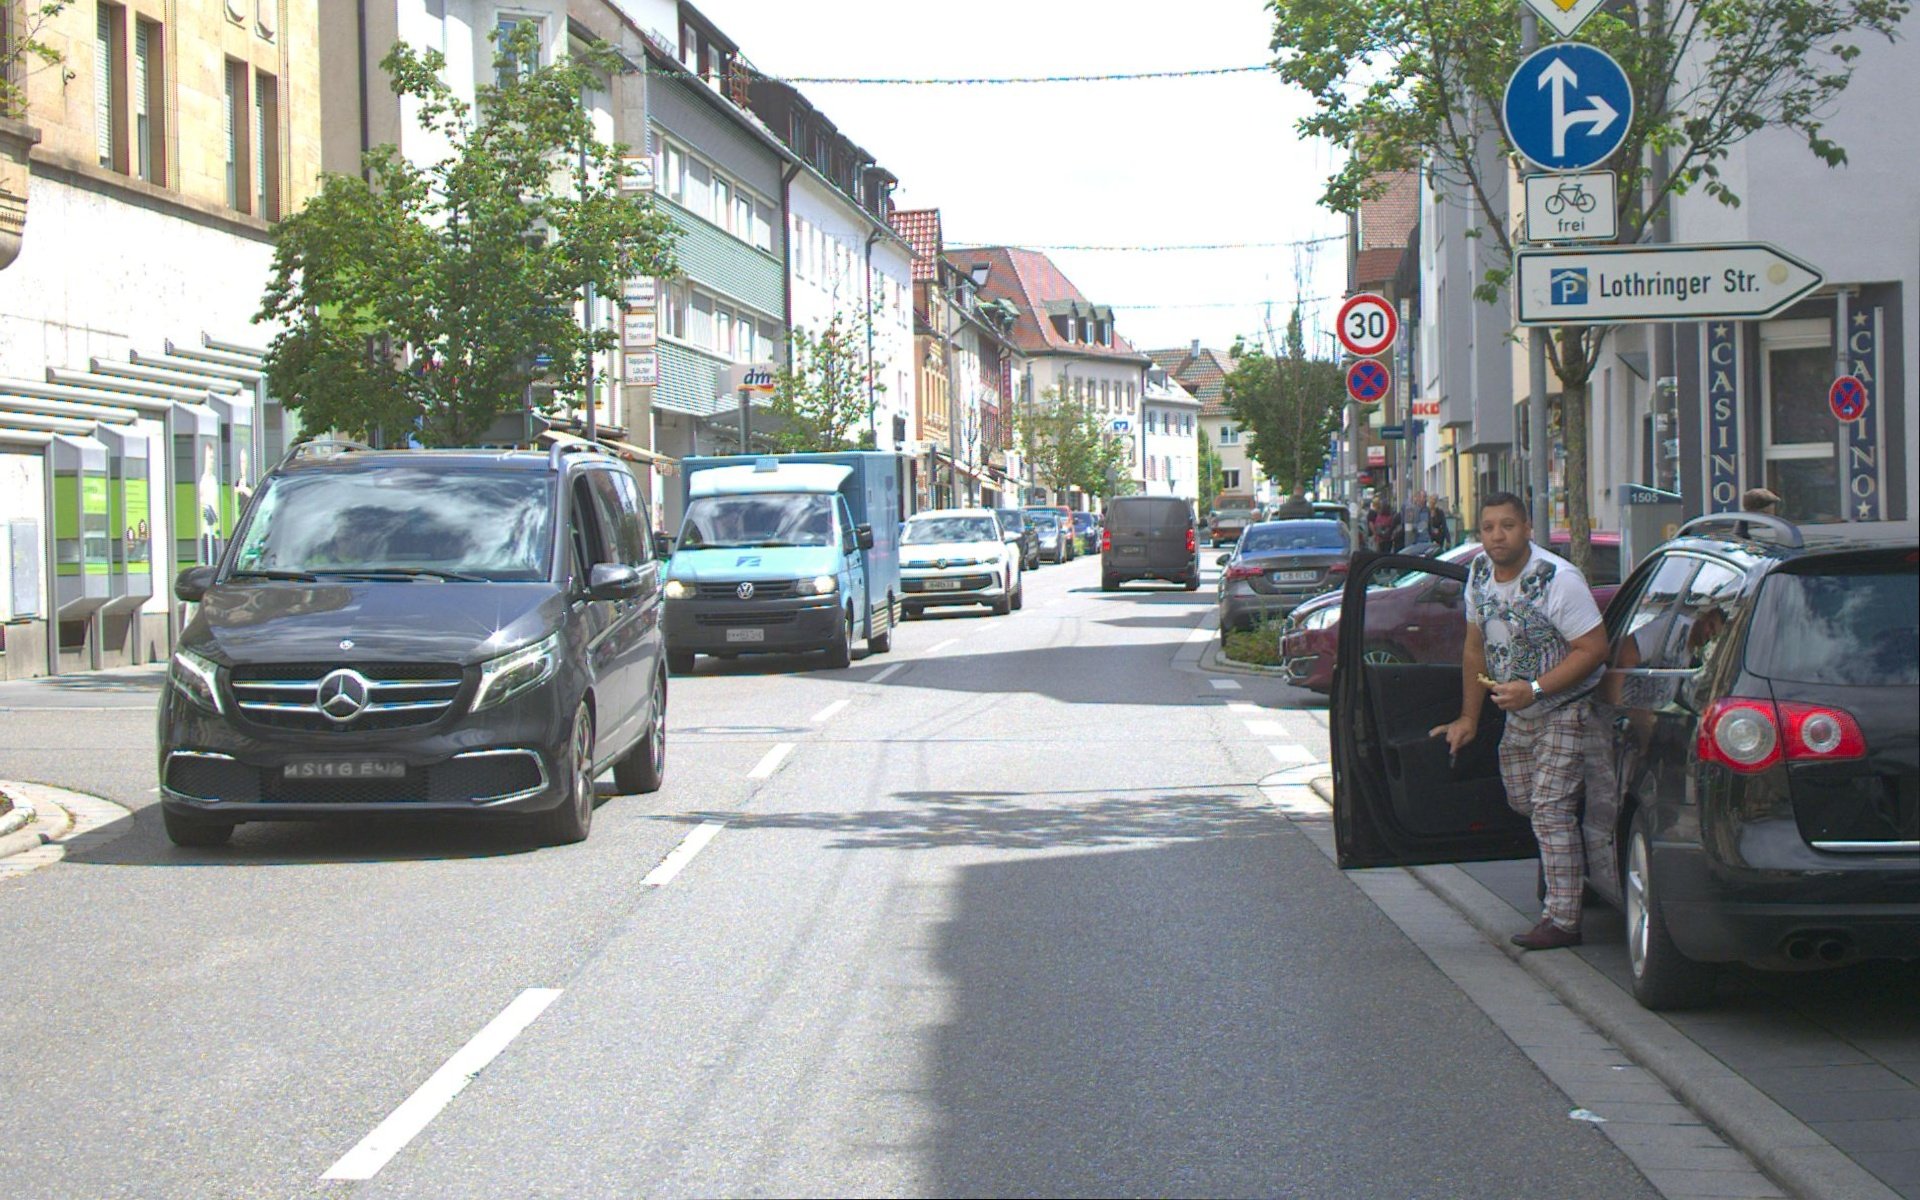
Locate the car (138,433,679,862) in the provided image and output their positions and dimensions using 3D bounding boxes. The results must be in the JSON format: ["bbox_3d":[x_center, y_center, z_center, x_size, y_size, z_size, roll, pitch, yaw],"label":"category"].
[{"bbox_3d":[-2.567,0.134,17.131,1.835,1.828,4.570,-1,2,1],"label":"car"}]

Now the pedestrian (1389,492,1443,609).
[{"bbox_3d":[7.413,-0.801,55.925,0.570,1.883,0.646,1,1,-26],"label":"pedestrian"}]

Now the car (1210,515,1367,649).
[{"bbox_3d":[3.737,-0.242,39.498,1.521,1.429,3.370,-1,2,1],"label":"car"}]

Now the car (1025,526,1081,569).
[{"bbox_3d":[3.497,-2.005,129.622,1.993,1.579,4.000,0,1,0],"label":"car"}]

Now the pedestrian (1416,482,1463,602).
[{"bbox_3d":[8.124,-0.985,58.282,0.682,2.007,0.599,0,1,-1],"label":"pedestrian"}]

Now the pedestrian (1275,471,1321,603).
[{"bbox_3d":[5.190,-0.974,52.797,0.682,2.007,0.599,0,1,5],"label":"pedestrian"}]

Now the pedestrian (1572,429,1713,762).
[{"bbox_3d":[4.181,-0.035,21.103,0.689,2.007,0.724,0,1,-3],"label":"pedestrian"}]

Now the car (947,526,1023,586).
[{"bbox_3d":[0.656,-1.213,92.833,1.993,1.579,4.000,0,1,0],"label":"car"}]

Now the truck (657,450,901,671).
[{"bbox_3d":[-1.846,-0.477,36.786,2.066,2.157,5.294,-1,2,3],"label":"truck"}]

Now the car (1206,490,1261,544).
[{"bbox_3d":[12.039,-3.656,151.366,2.065,2.293,4.223,1,1,9],"label":"car"}]

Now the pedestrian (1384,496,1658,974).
[{"bbox_3d":[1.947,0.443,11.917,0.666,1.588,0.677,1,1,38],"label":"pedestrian"}]

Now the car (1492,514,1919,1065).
[{"bbox_3d":[2.846,0.460,11.328,1.606,1.429,4.175,-1,2,1],"label":"car"}]

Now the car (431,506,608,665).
[{"bbox_3d":[-5.015,-0.217,39.527,1.709,1.706,4.001,0,2,-3],"label":"car"}]

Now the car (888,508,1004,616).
[{"bbox_3d":[-0.206,-0.610,52.799,1.697,1.579,3.958,0,1,0],"label":"car"}]

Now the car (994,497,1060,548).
[{"bbox_3d":[2.112,-2.455,109.080,1.993,1.579,4.000,0,1,0],"label":"car"}]

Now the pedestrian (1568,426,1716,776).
[{"bbox_3d":[3.976,-0.002,20.086,0.689,2.007,0.724,0,1,-3],"label":"pedestrian"}]

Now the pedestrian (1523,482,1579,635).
[{"bbox_3d":[7.372,-0.518,42.875,0.594,1.883,0.572,1,1,3],"label":"pedestrian"}]

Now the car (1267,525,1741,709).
[{"bbox_3d":[4.404,0.127,28.207,3.621,1.408,1.590,1,1,0],"label":"car"}]

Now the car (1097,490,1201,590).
[{"bbox_3d":[3.781,-1.227,68.273,1.972,1.869,5.037,-1,2,4],"label":"car"}]

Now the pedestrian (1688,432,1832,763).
[{"bbox_3d":[4.938,-0.023,21.251,0.689,2.007,0.724,0,1,-3],"label":"pedestrian"}]
